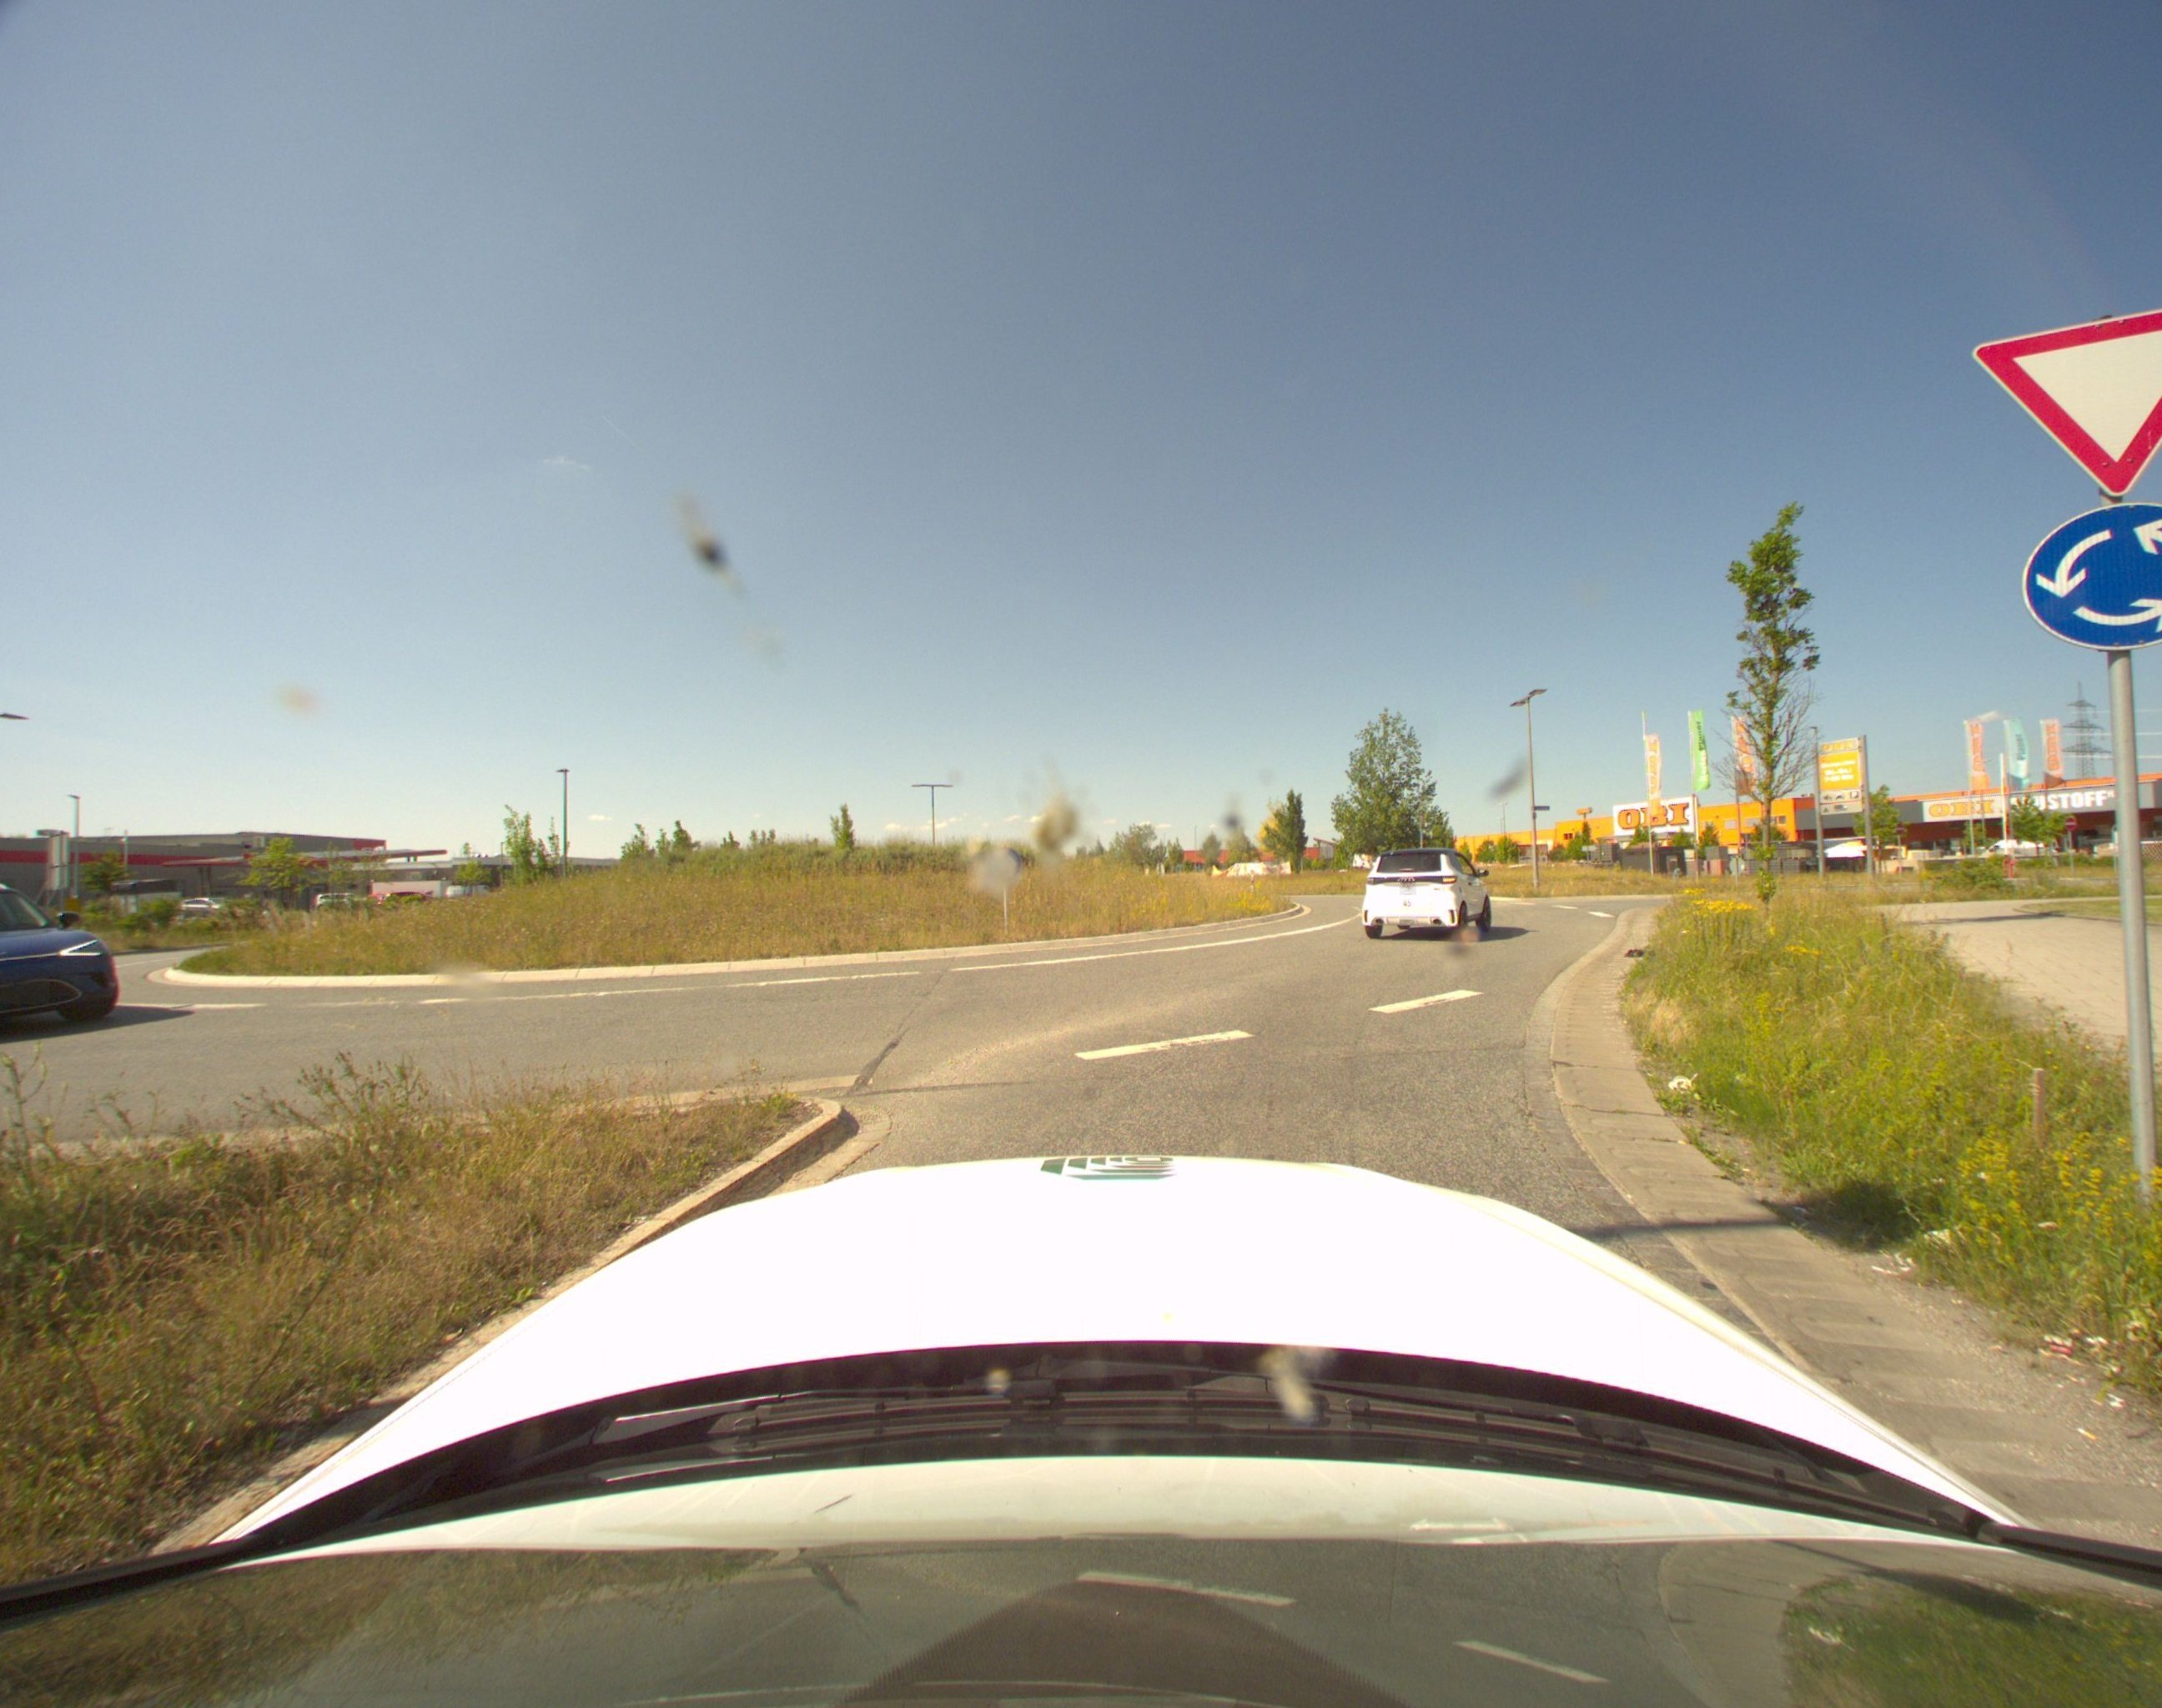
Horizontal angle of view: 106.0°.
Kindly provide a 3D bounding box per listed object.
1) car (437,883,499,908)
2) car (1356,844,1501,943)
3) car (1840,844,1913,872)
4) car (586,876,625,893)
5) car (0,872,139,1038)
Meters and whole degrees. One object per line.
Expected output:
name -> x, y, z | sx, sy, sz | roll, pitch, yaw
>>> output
car -> -53.130, 3.528, 70.744 | 1.992, 2.014, 5.123 | -1, -2, -7
car -> 6.039, 0.580, 13.960 | 1.494, 1.440, 3.372 | -1, 1, 37
car -> 54.093, 0.285, 55.406 | 3.762, 1.841, 1.694 | 0, -2, -10
car -> -50.101, 3.199, 85.858 | 1.991, 1.732, 3.992 | -2, -2, -5
car -> -12.731, 1.126, 9.091 | 4.029, 1.635, 1.868 | -3, -1, 26
